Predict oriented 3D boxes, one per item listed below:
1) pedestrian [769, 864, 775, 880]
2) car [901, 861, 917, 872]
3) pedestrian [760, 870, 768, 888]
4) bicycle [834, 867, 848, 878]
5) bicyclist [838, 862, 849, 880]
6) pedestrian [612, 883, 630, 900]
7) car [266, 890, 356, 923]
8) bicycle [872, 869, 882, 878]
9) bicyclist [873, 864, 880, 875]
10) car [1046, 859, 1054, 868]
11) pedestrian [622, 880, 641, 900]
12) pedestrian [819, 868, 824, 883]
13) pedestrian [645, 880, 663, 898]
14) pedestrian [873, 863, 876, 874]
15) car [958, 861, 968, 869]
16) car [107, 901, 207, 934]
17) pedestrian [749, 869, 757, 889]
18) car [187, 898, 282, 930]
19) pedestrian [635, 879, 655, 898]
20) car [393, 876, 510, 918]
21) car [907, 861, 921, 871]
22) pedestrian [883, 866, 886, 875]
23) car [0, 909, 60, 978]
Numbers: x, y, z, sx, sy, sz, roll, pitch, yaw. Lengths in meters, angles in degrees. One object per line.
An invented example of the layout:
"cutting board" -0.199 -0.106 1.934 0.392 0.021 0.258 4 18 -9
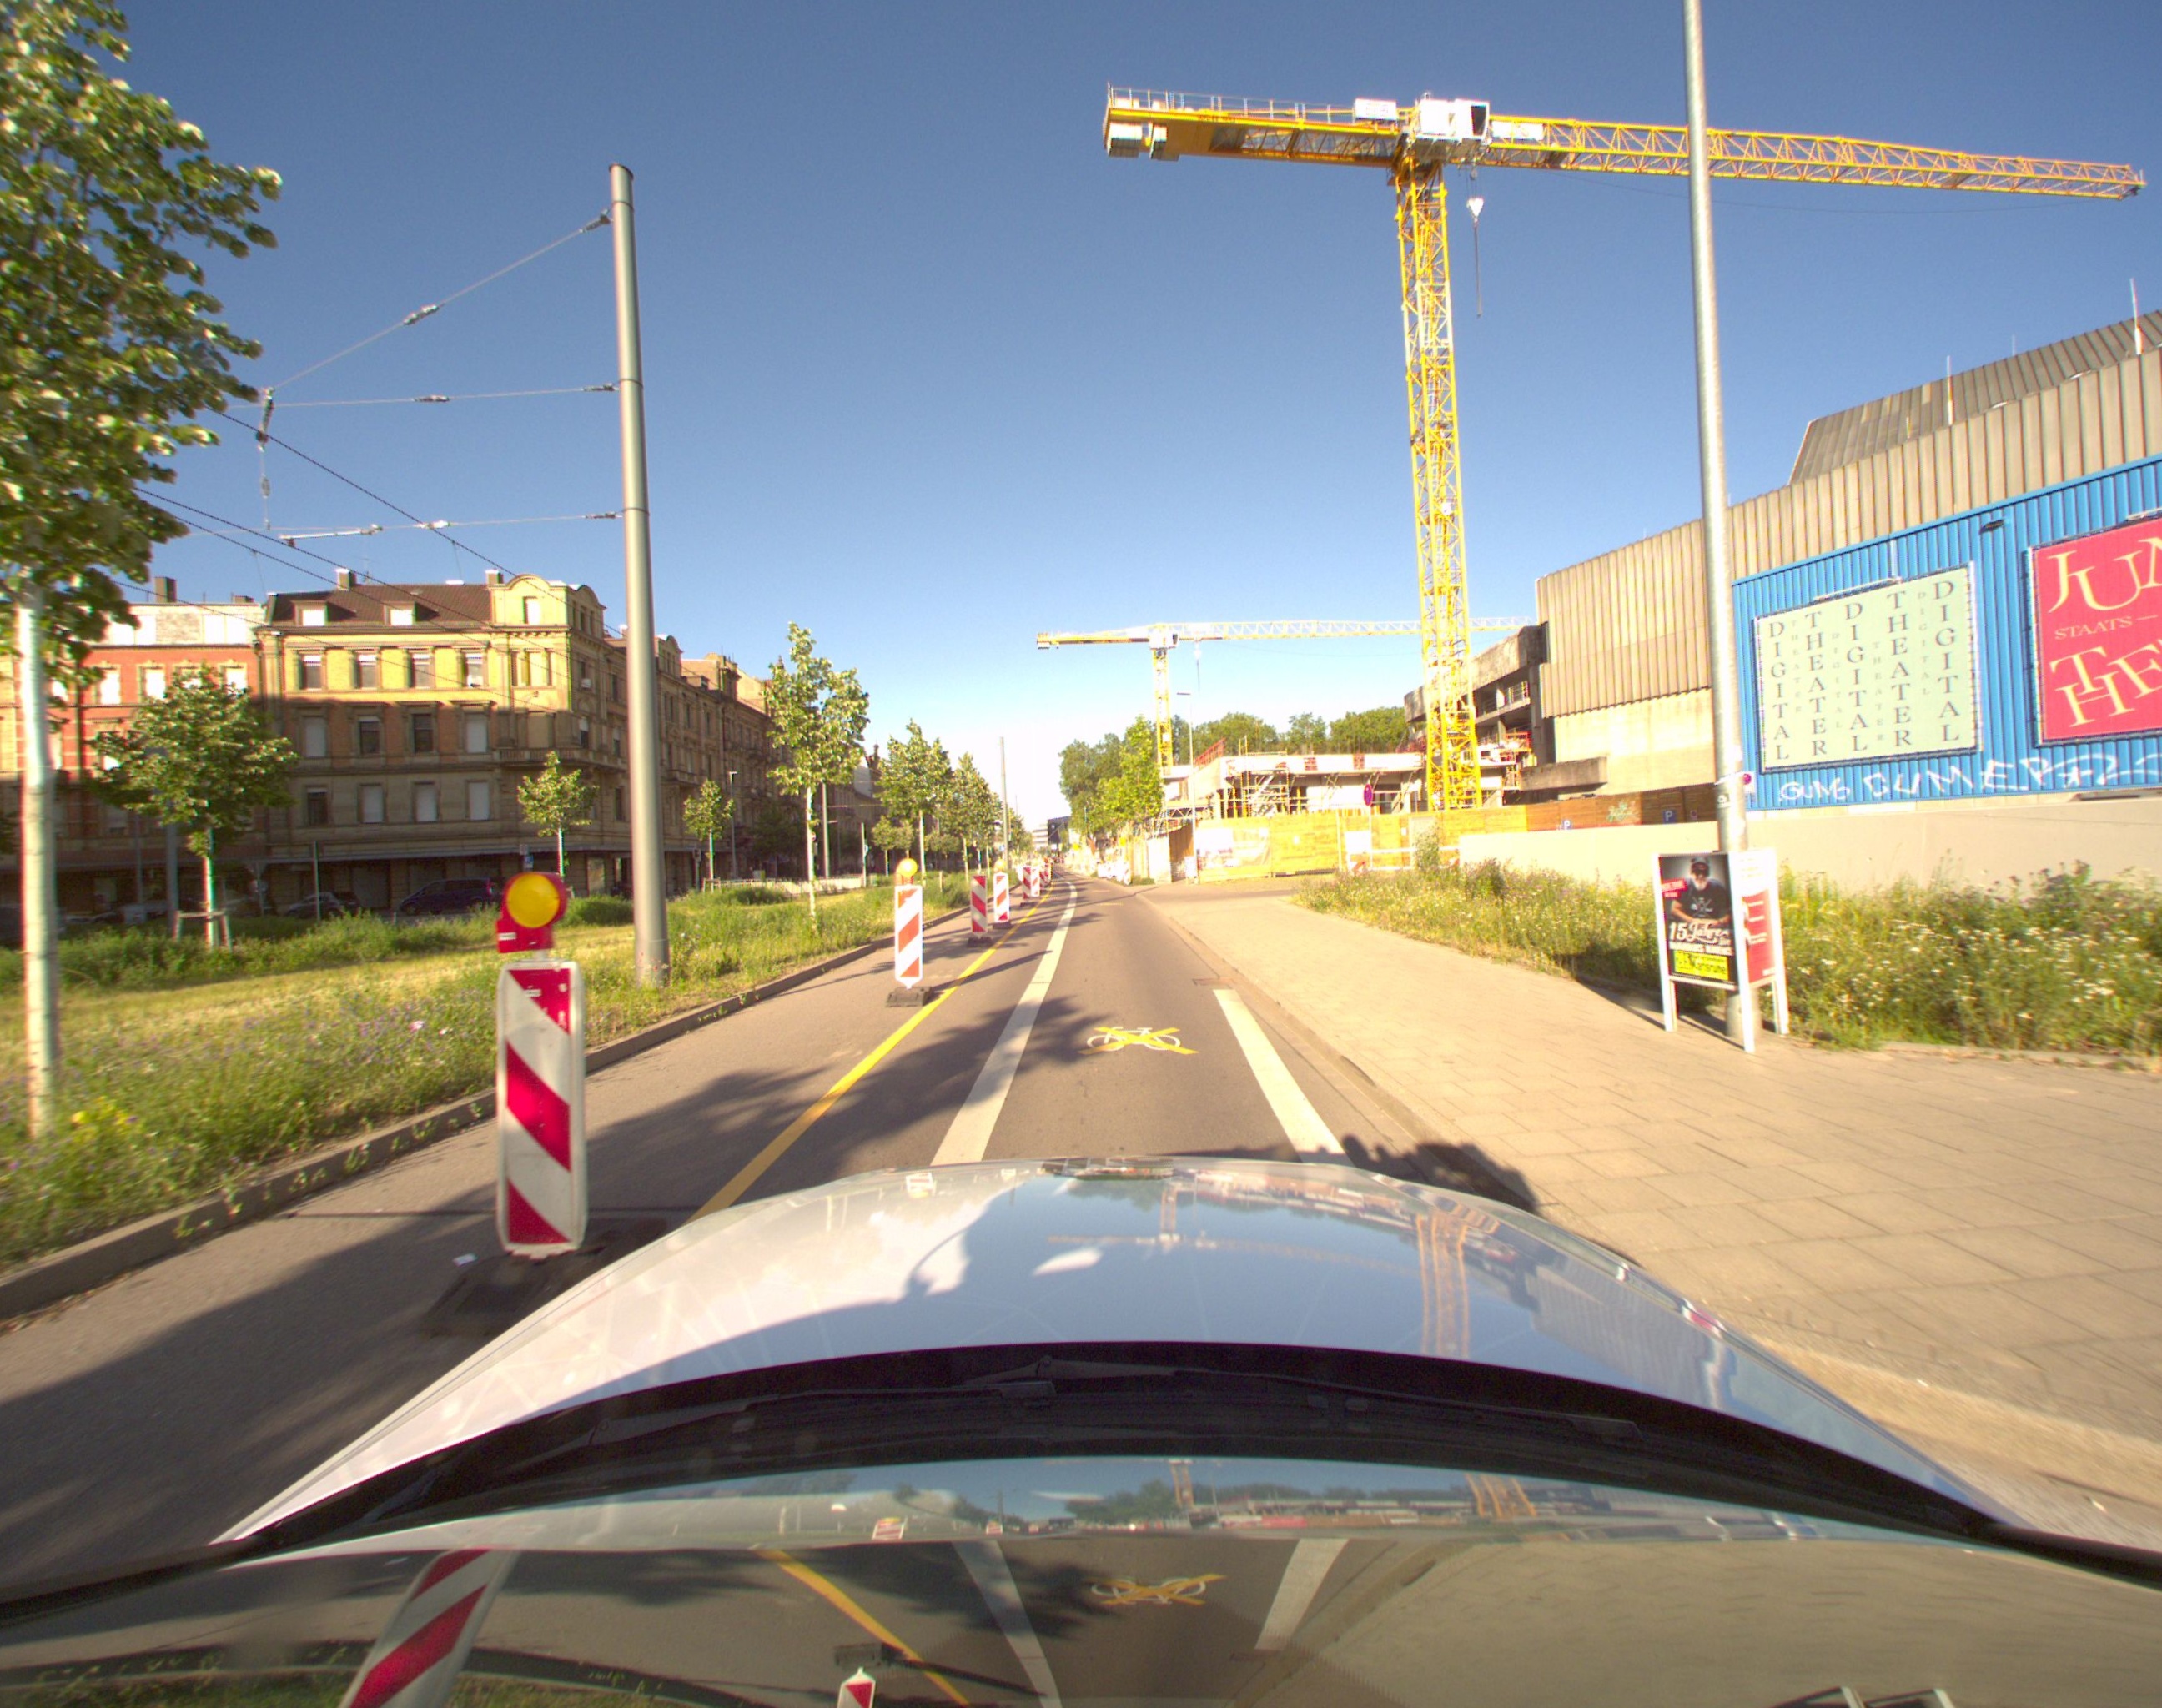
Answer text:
"pedestrian" -31.787 1.858 83.778 0.381 1.585 0.393 -1 -1 28
"car" -25.668 1.871 121.865 1.563 1.562 4.709 -3 0 -3
"pedestrian" -27.418 2.142 70.379 0.485 1.585 0.533 0 -1 -3
"bicycle" -22.148 1.711 75.160 0.693 0.978 1.826 -2 0 -2
"bicyclist" -22.103 1.571 75.687 0.693 1.657 0.881 -2 -1 -2
"pedestrian" -30.152 2.465 53.372 0.688 1.059 0.735 -2 -1 -2
"car" -40.358 2.742 42.714 3.142 1.468 1.380 -3 0 -8
"bicycle" -23.139 2.210 92.381 0.635 0.857 2.030 -2 0 -2
"bicyclist" -23.147 1.792 92.193 0.635 1.239 0.738 -2 0 -2
"car" -7.512 2.258 196.217 1.879 1.842 3.663 -3 0 -3
"pedestrian" -29.185 2.307 52.833 0.688 1.246 0.928 -2 -1 -2
"pedestrian" -29.203 2.406 91.536 0.402 1.585 0.425 0 -1 -3
"pedestrian" -29.393 2.390 56.099 0.688 1.208 0.928 -2 -1 -2
"pedestrian" -30.182 2.154 119.072 0.404 1.532 0.434 0 -1 -3
"car" -24.595 2.292 169.990 1.590 1.483 3.621 -1 0 -1
"car" -47.323 3.229 41.764 3.050 1.409 1.576 -3 0 -8
"pedestrian" -28.754 2.217 71.441 0.506 1.765 0.406 0 -1 -3
"car" -44.146 3.121 42.535 3.050 1.409 1.576 -3 0 -8
"pedestrian" -29.259 2.320 54.630 0.789 1.208 0.928 -2 -1 -2
"car" -33.657 2.259 43.653 4.506 1.903 1.893 -3 0 -8
"car" -26.688 1.921 130.228 1.563 1.562 4.709 -3 0 -3
"pedestrian" -32.255 2.700 133.663 0.460 1.585 0.433 0 -1 -10
"car" -25.094 2.053 17.302 1.722 1.461 3.905 -1 0 5
